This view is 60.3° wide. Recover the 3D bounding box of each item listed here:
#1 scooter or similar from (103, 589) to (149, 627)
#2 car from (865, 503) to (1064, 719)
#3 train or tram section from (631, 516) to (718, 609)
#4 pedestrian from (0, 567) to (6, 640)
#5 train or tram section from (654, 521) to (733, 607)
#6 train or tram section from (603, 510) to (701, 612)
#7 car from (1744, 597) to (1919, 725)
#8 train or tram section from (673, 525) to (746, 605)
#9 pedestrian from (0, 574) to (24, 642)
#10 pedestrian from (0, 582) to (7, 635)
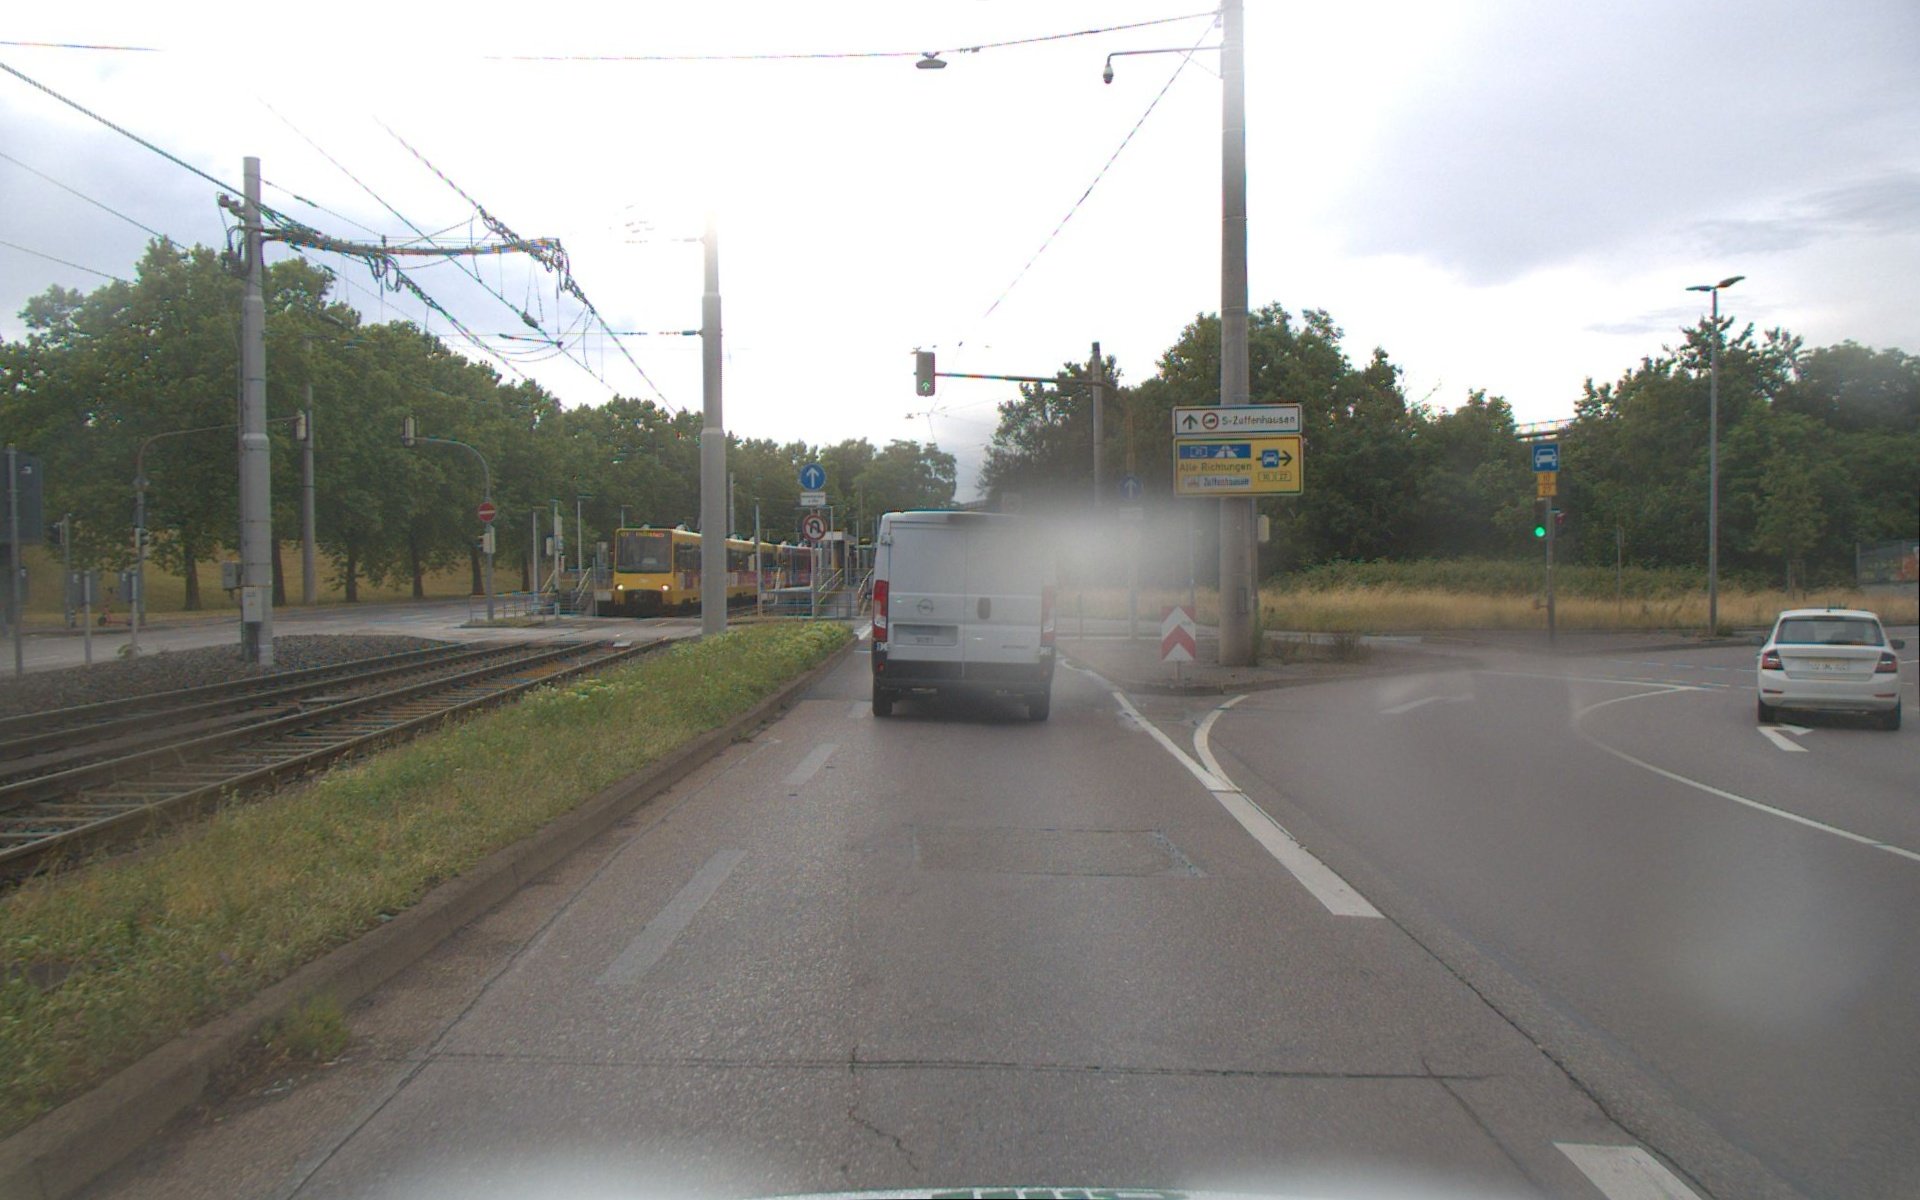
[{"bbox_3d":[-27.230,0.261,54.000,0.373,1.181,1.272,0,2,41],"label":"scooter or similar"},{"bbox_3d":[-0.089,0.072,19.928,2.049,2.234,5.058,1,1,-3],"label":"car"},{"bbox_3d":[-12.995,-1.678,75.854,2.869,4.001,7.004,2,1,-2],"label":"train or tram section"},{"bbox_3d":[-26.444,0.092,44.998,0.485,1.989,0.722,2,0,1],"label":"pedestrian"},{"bbox_3d":[-13.142,-1.758,82.096,2.869,4.001,7.004,2,1,-2],"label":"train or tram section"},{"bbox_3d":[-12.848,-1.596,69.580,2.869,4.001,7.004,2,1,-2],"label":"train or tram section"},{"bbox_3d":[11.567,0.740,22.162,1.711,1.483,3.670,1,1,22],"label":"car"},{"bbox_3d":[-13.309,-1.841,88.404,2.869,4.001,7.004,2,1,-2],"label":"train or tram section"},{"bbox_3d":[-25.937,0.207,44.945,0.496,1.818,0.832,2,0,1],"label":"pedestrian"},{"bbox_3d":[-27.540,0.235,47.003,0.485,1.499,0.722,2,0,-2],"label":"pedestrian"}]
